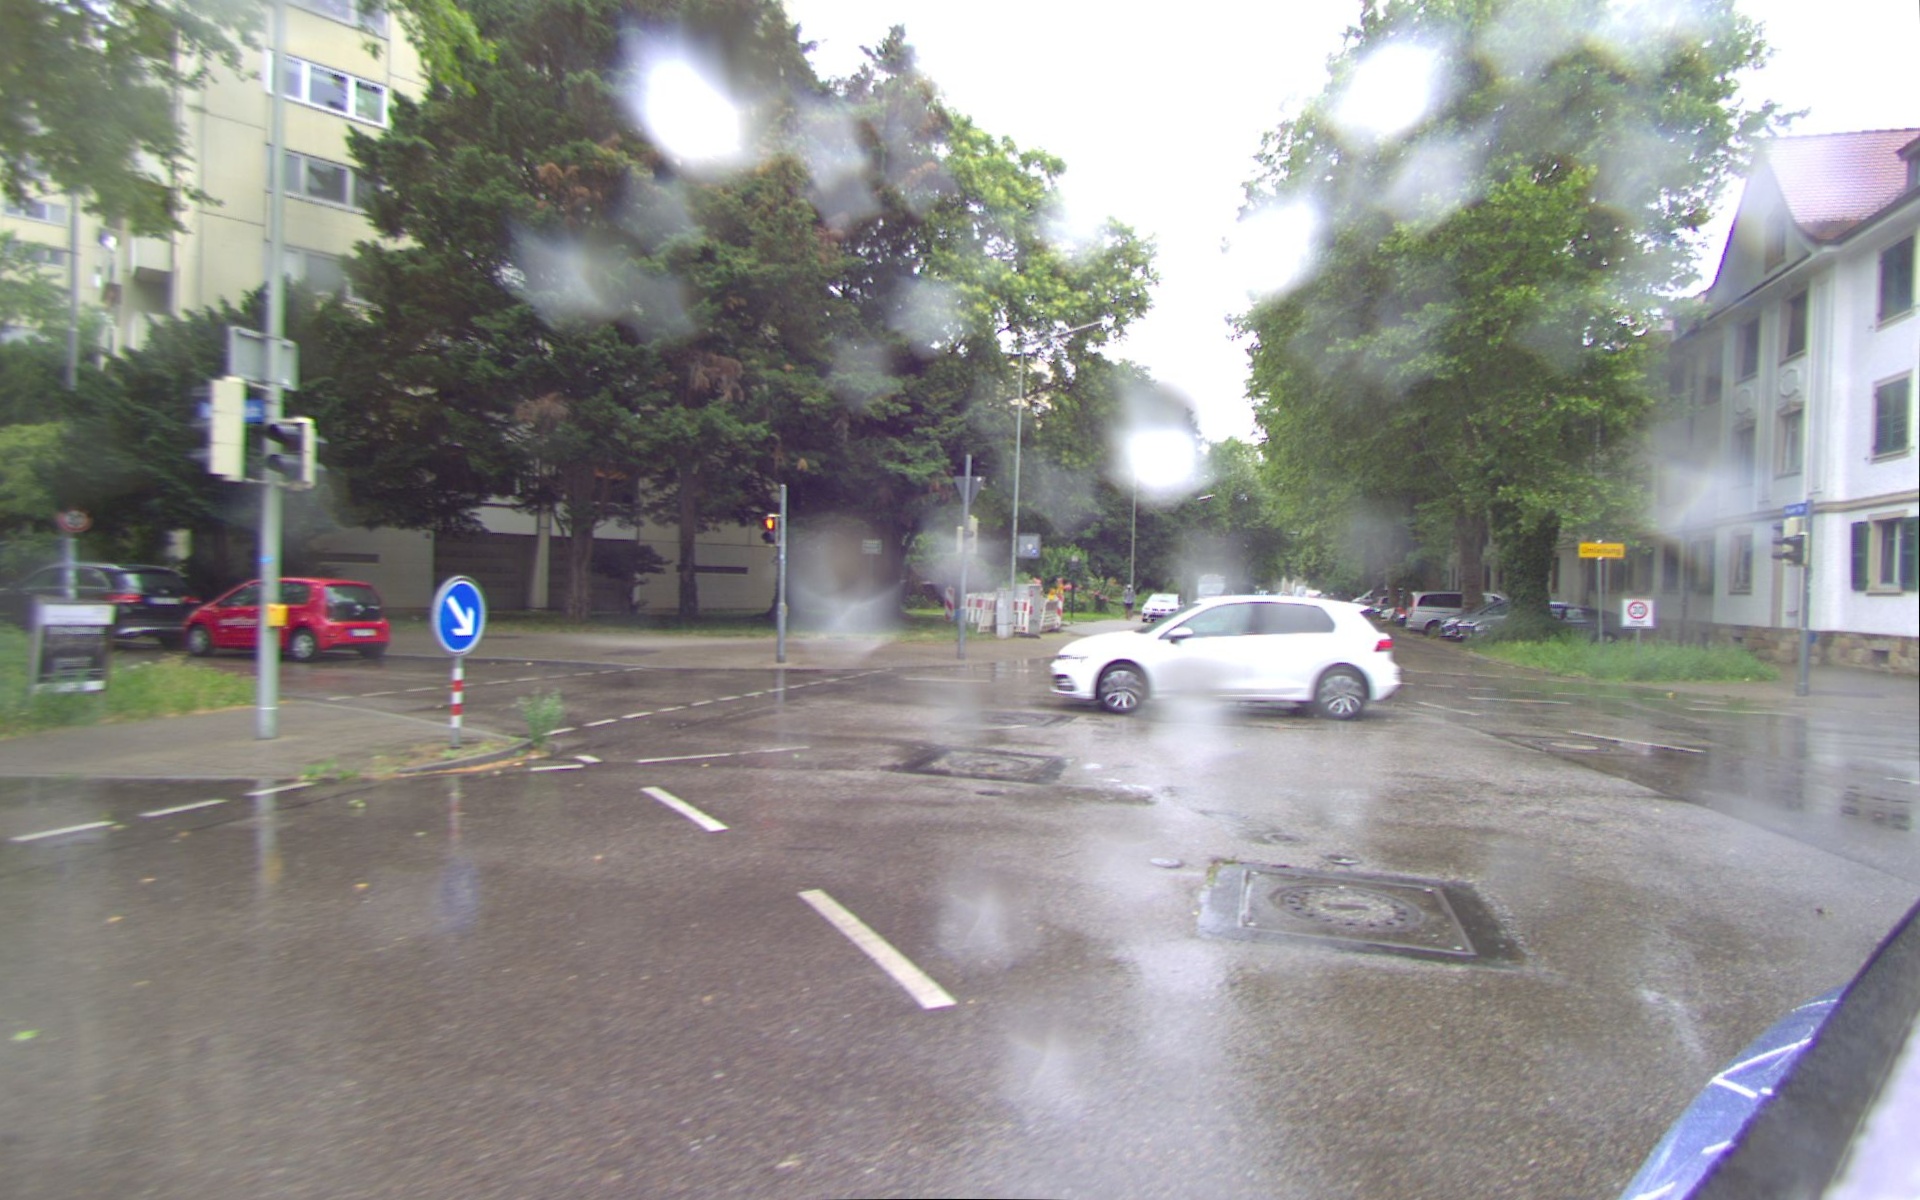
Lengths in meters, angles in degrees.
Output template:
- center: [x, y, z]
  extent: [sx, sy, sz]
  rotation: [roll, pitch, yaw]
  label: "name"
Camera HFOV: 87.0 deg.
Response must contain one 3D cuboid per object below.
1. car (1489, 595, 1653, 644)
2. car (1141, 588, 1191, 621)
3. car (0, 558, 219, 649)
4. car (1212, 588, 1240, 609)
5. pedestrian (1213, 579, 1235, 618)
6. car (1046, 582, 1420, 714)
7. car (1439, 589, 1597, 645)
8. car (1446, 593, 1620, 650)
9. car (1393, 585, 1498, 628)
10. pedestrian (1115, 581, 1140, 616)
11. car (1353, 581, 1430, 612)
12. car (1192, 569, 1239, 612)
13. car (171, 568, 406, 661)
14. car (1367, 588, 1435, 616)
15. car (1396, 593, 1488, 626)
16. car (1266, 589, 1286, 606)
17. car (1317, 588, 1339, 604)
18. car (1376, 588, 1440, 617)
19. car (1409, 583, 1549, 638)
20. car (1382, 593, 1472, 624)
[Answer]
- center: [18.739, 0.561, 31.225]
  extent: [3.943, 1.371, 1.789]
  rotation: [1, 0, 15]
  label: "car"
- center: [10.056, 0.178, 49.146]
  extent: [1.800, 1.478, 4.245]
  rotation: [1, 1, 20]
  label: "car"
- center: [-17.213, 0.017, 20.006]
  extent: [4.395, 1.628, 1.930]
  rotation: [1, 1, 17]
  label: "car"
- center: [21.028, -0.112, 79.887]
  extent: [1.973, 1.558, 3.977]
  rotation: [1, 1, 18]
  label: "car"
- center: [14.339, -0.084, 54.991]
  extent: [0.933, 2.088, 1.072]
  rotation: [2, 1, 22]
  label: "pedestrian"
- center: [3.273, 0.577, 12.871]
  extent: [4.322, 1.451, 1.779]
  rotation: [1, -2, 6]
  label: "car"
- center: [19.932, 0.561, 36.384]
  extent: [4.613, 1.711, 2.021]
  rotation: [3, 1, 19]
  label: "car"
- center: [19.116, 0.677, 34.017]
  extent: [4.676, 1.642, 1.920]
  rotation: [3, 1, 17]
  label: "car"
- center: [24.340, 0.283, 50.918]
  extent: [4.383, 1.923, 2.022]
  rotation: [3, 1, 17]
  label: "car"
- center: [8.117, -0.077, 49.049]
  extent: [0.933, 1.681, 0.921]
  rotation: [2, 1, 22]
  label: "pedestrian"
- center: [32.273, -0.300, 75.849]
  extent: [5.026, 2.049, 2.021]
  rotation: [3, 1, 19]
  label: "car"
- center: [16.192, -0.609, 63.857]
  extent: [2.372, 2.506, 5.657]
  rotation: [3, 1, 19]
  label: "car"
- center: [-12.393, 0.230, 18.741]
  extent: [3.411, 1.544, 1.834]
  rotation: [1, 1, 15]
  label: "car"
- center: [30.255, 0.097, 69.473]
  extent: [4.059, 1.711, 1.817]
  rotation: [3, 1, 19]
  label: "car"
- center: [26.905, 0.487, 56.670]
  extent: [4.355, 1.605, 1.915]
  rotation: [3, 1, 19]
  label: "car"
- center: [36.679, -0.320, 117.686]
  extent: [1.971, 1.829, 4.331]
  rotation: [1, 1, 14]
  label: "car"
- center: [42.329, -0.470, 116.438]
  extent: [1.970, 1.829, 3.983]
  rotation: [1, 1, 14]
  label: "car"
- center: [29.684, 0.146, 67.151]
  extent: [3.676, 1.711, 1.926]
  rotation: [3, 1, 19]
  label: "car"
- center: [20.532, 0.375, 40.274]
  extent: [4.613, 1.897, 2.021]
  rotation: [3, 1, 19]
  label: "car"
- center: [27.220, 0.483, 59.160]
  extent: [4.472, 1.590, 2.021]
  rotation: [3, 1, 19]
  label: "car"
